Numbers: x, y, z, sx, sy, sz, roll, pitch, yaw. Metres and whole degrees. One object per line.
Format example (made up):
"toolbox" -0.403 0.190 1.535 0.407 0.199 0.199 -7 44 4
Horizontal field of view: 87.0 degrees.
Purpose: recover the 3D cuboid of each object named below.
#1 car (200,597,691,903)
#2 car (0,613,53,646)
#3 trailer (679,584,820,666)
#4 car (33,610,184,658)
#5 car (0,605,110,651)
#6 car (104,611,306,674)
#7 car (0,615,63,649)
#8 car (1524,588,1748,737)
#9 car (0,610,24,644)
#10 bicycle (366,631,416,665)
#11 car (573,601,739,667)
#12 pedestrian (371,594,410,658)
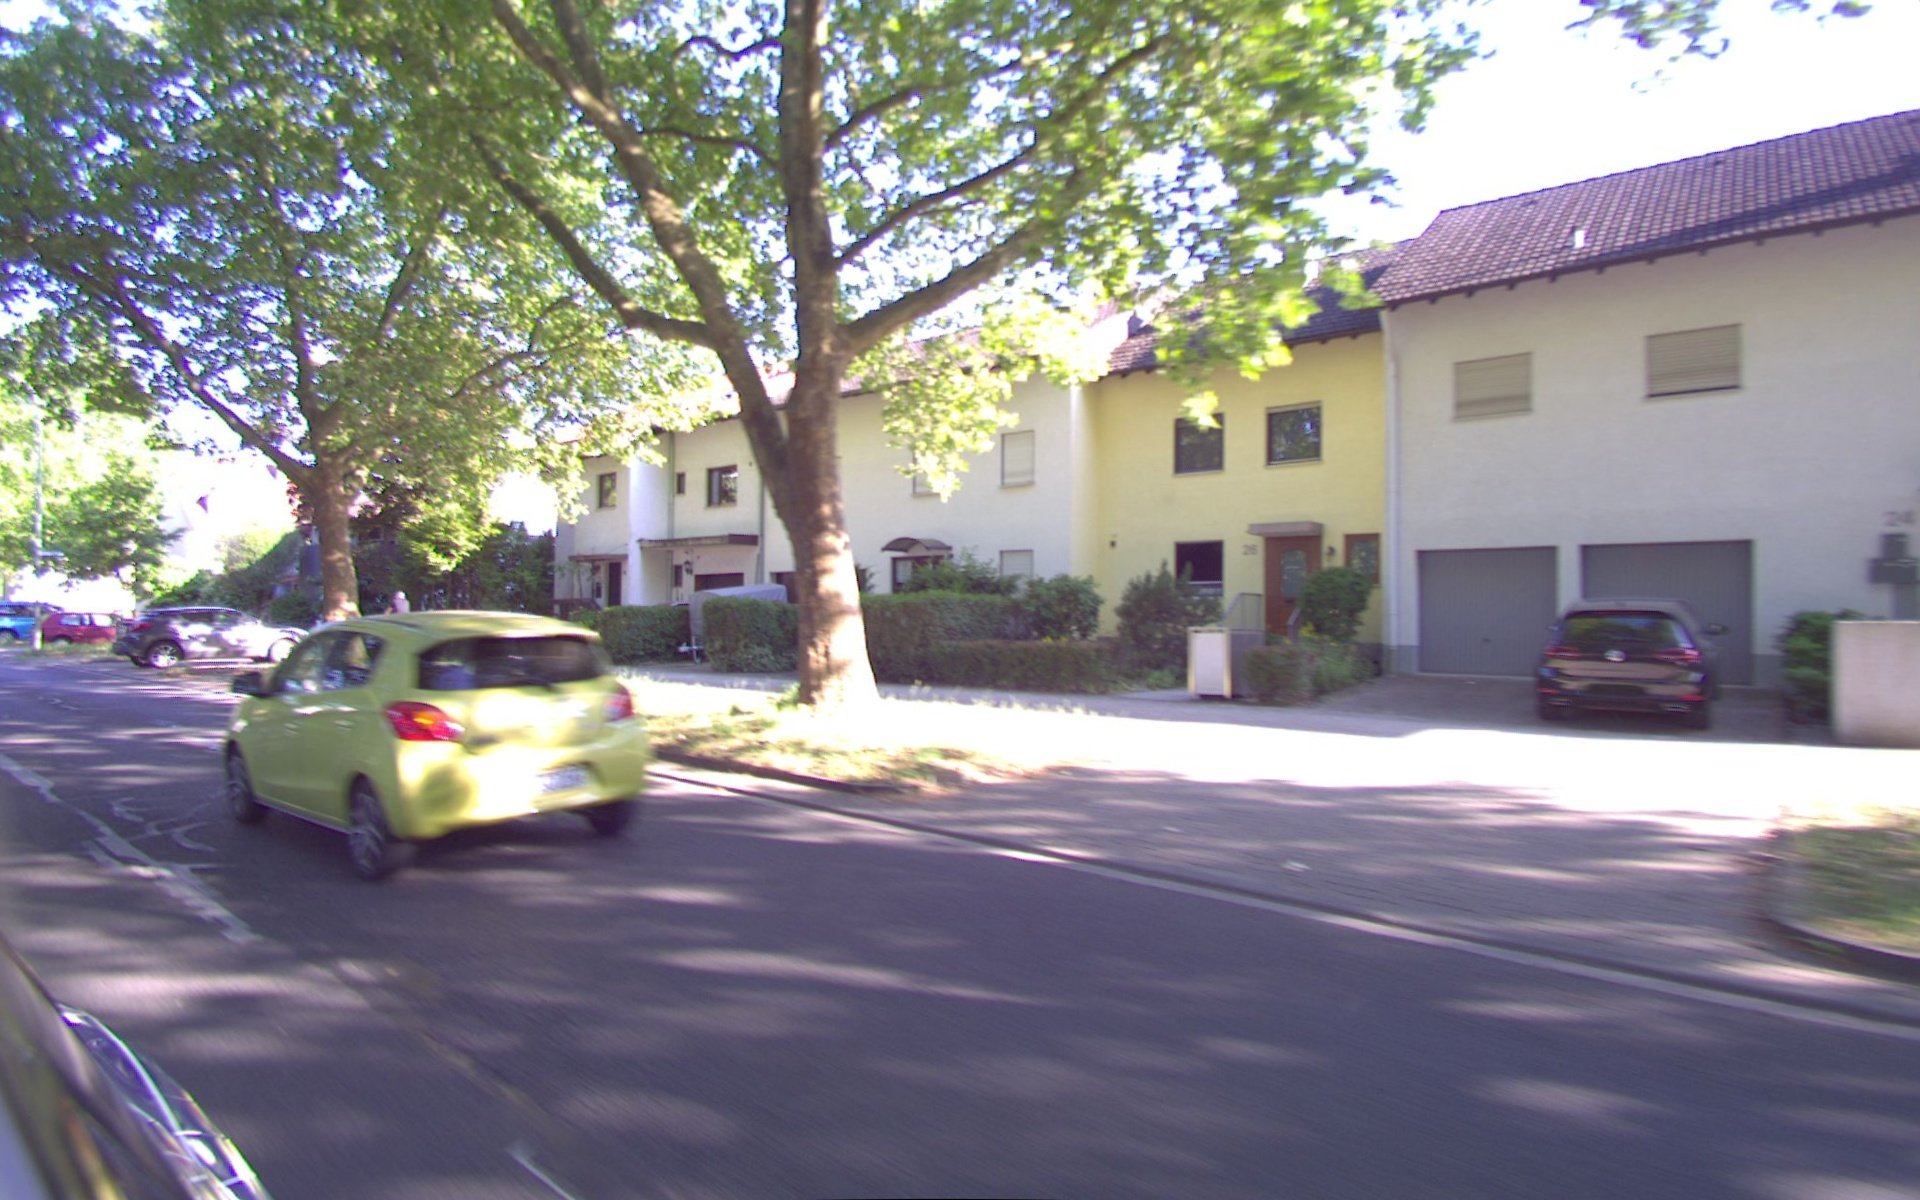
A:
"car" -3.712 0.793 7.011 3.837 1.524 1.765 -1 -2 42
"car" -45.852 1.408 48.311 1.721 1.528 3.484 -1 0 33
"trailer" -5.685 0.633 27.558 1.641 1.940 3.420 -3 1 38
"car" -30.080 1.157 35.846 1.661 1.530 3.837 1 0 35
"car" -38.288 1.132 41.917 1.991 1.838 4.347 -1 -1 35
"car" -19.759 1.054 26.619 1.815 1.530 3.949 -1 -1 38
"car" -44.066 1.454 46.788 1.779 1.528 3.608 -1 -1 37
"car" 8.717 0.656 12.901 1.900 1.475 3.946 -1 2 41
"car" -50.050 1.369 50.928 1.828 1.729 4.054 -1 -1 36
"bicycle" -15.744 1.306 27.977 2.154 0.887 0.465 -1 -1 40
"car" -8.375 0.886 28.106 1.998 1.487 3.948 -1 3 40
"pedestrian" -15.718 0.700 27.933 1.064 1.729 0.610 -1 -1 40
